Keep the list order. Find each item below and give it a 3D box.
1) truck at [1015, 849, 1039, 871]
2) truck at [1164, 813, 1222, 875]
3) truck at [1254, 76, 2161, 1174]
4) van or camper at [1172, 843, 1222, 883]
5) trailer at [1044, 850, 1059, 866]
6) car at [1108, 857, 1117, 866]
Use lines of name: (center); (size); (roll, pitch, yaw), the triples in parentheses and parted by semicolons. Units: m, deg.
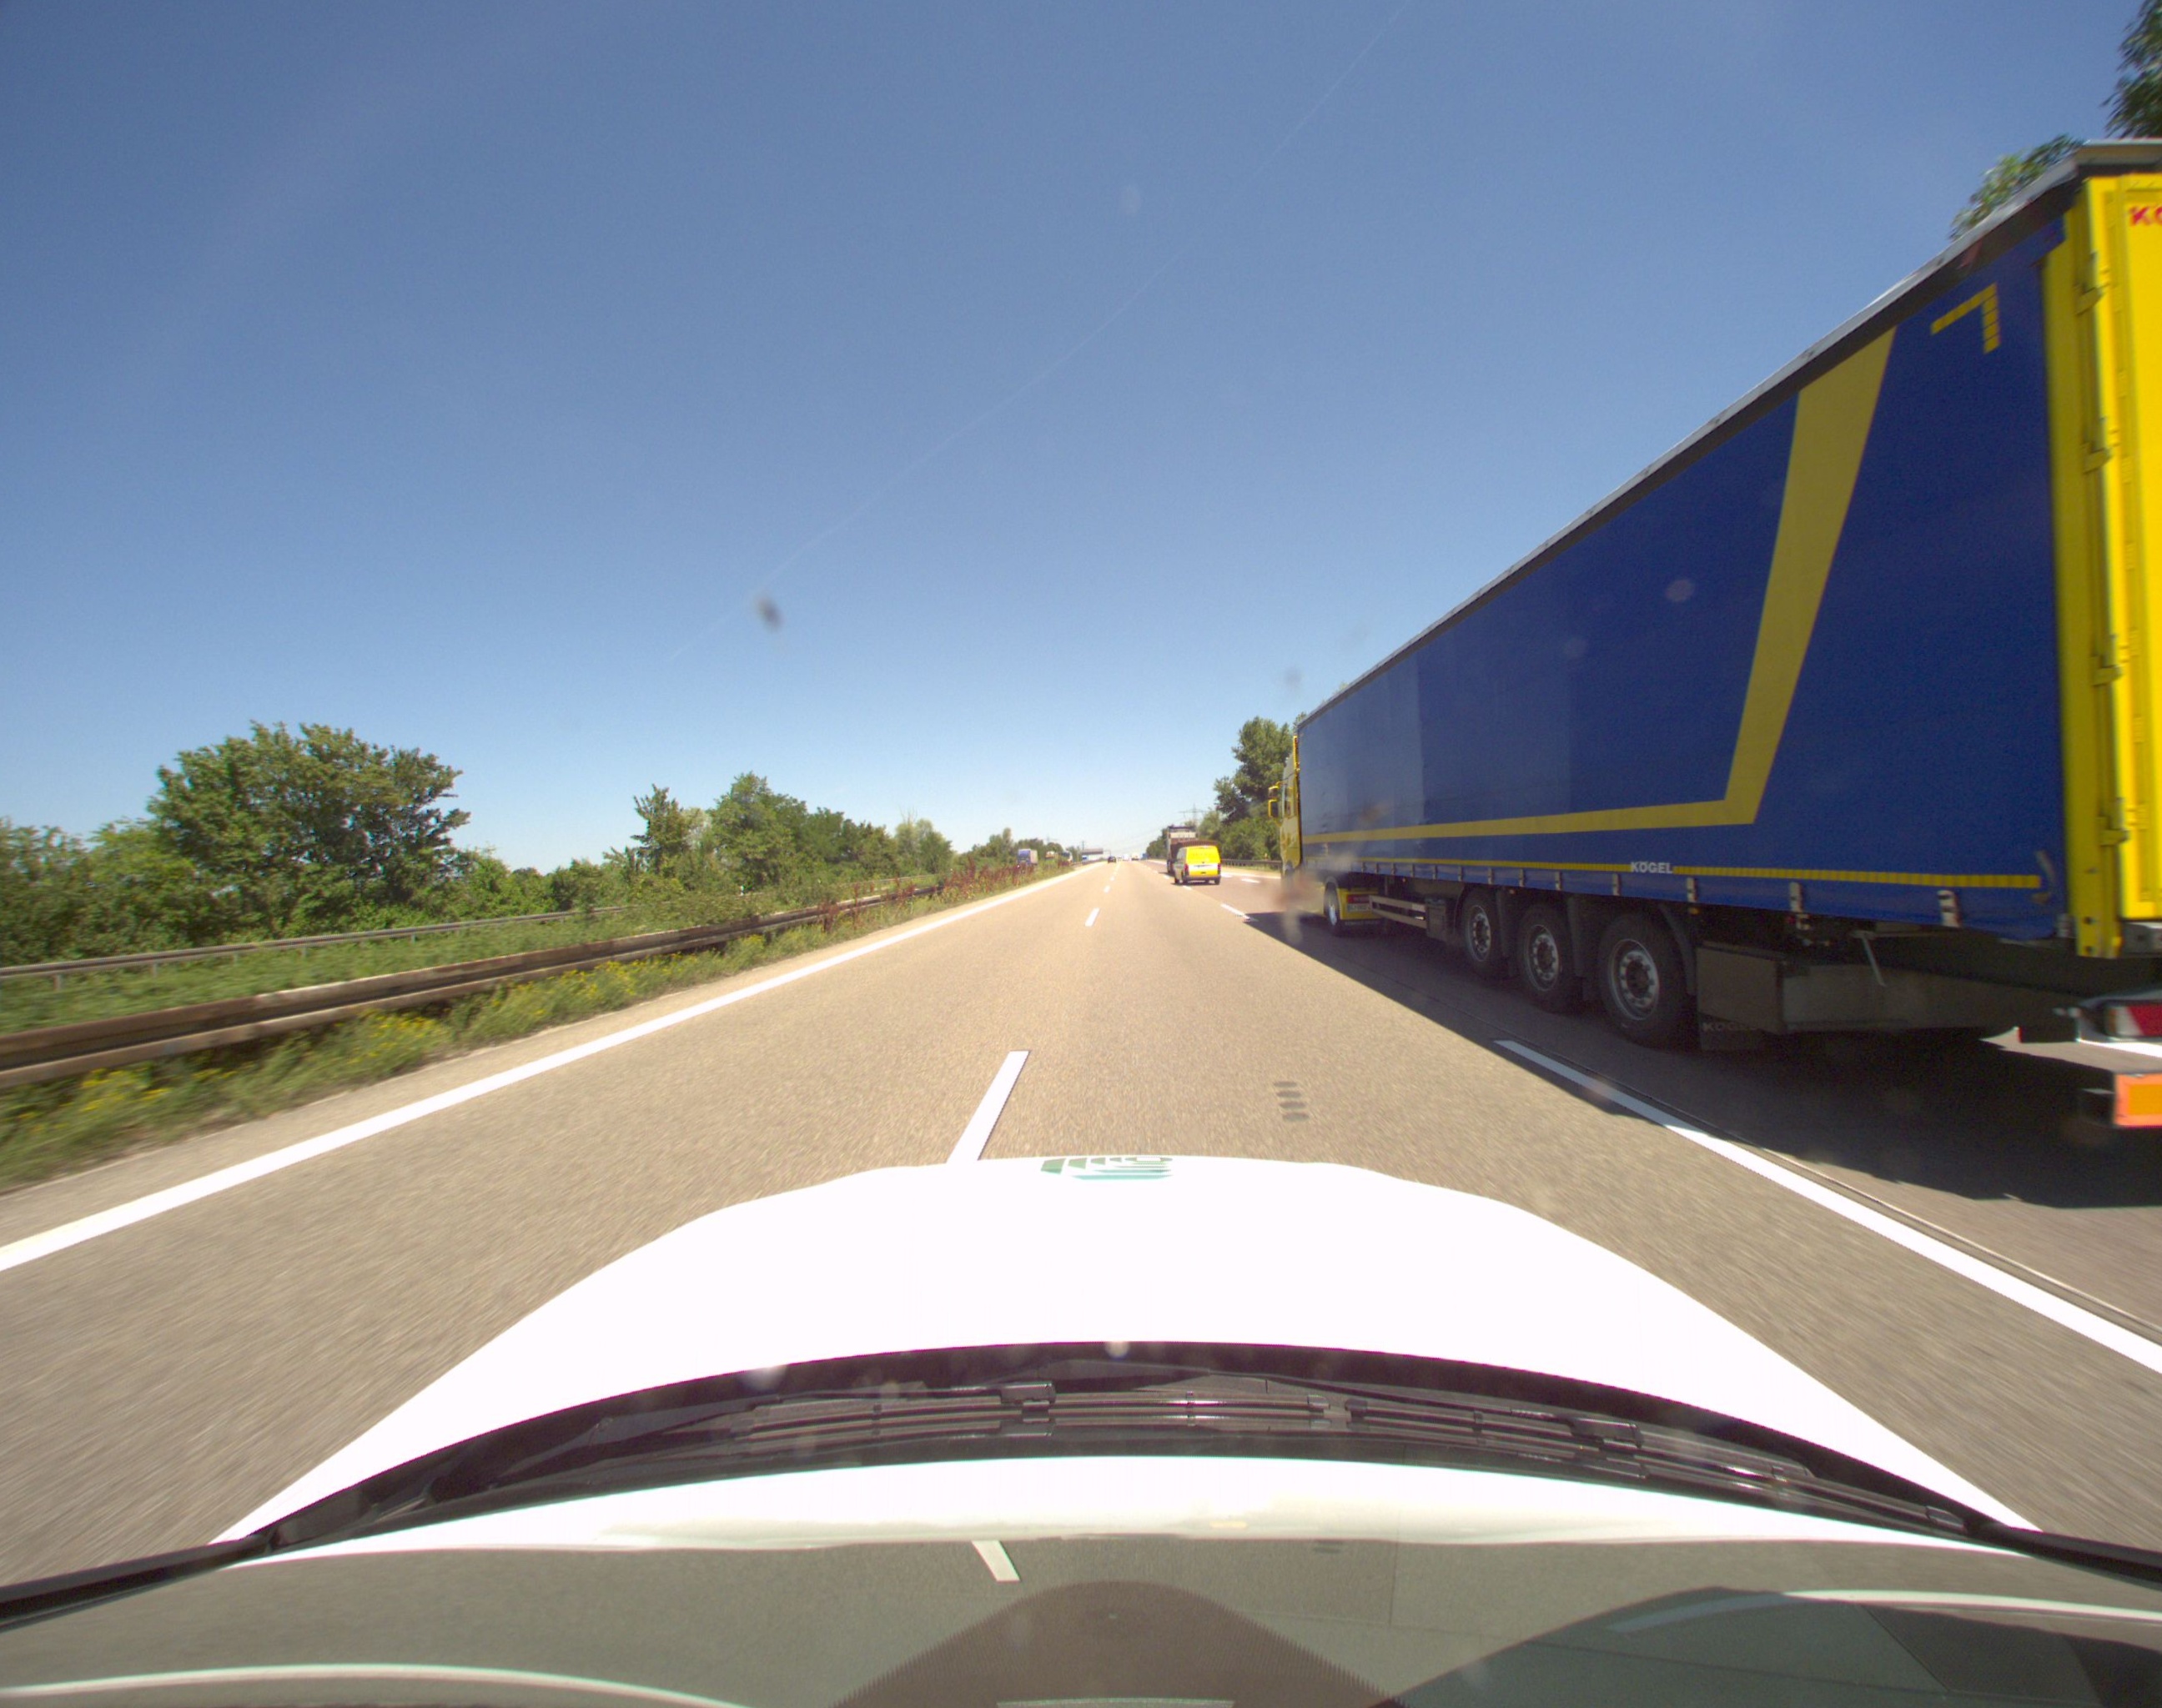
truck: (-11.390, 1.240, 172.664); (2.943, 4.342, 17.481); (-2, 0, 3)
truck: (8.085, -0.567, 61.062); (2.957, 3.957, 16.627); (-2, -1, 3)
truck: (5.406, -0.865, 11.532); (2.834, 4.257, 16.800); (-3, -1, 2)
van or camper: (5.904, 0.433, 41.946); (1.986, 1.909, 4.974); (-2, 0, 2)
trailer: (-8.066, 1.150, 226.629); (2.910, 3.967, 11.658); (-5, 0, 3)
car: (6.678, 1.610, 172.687); (1.784, 2.014, 3.890); (-2, -1, 3)
